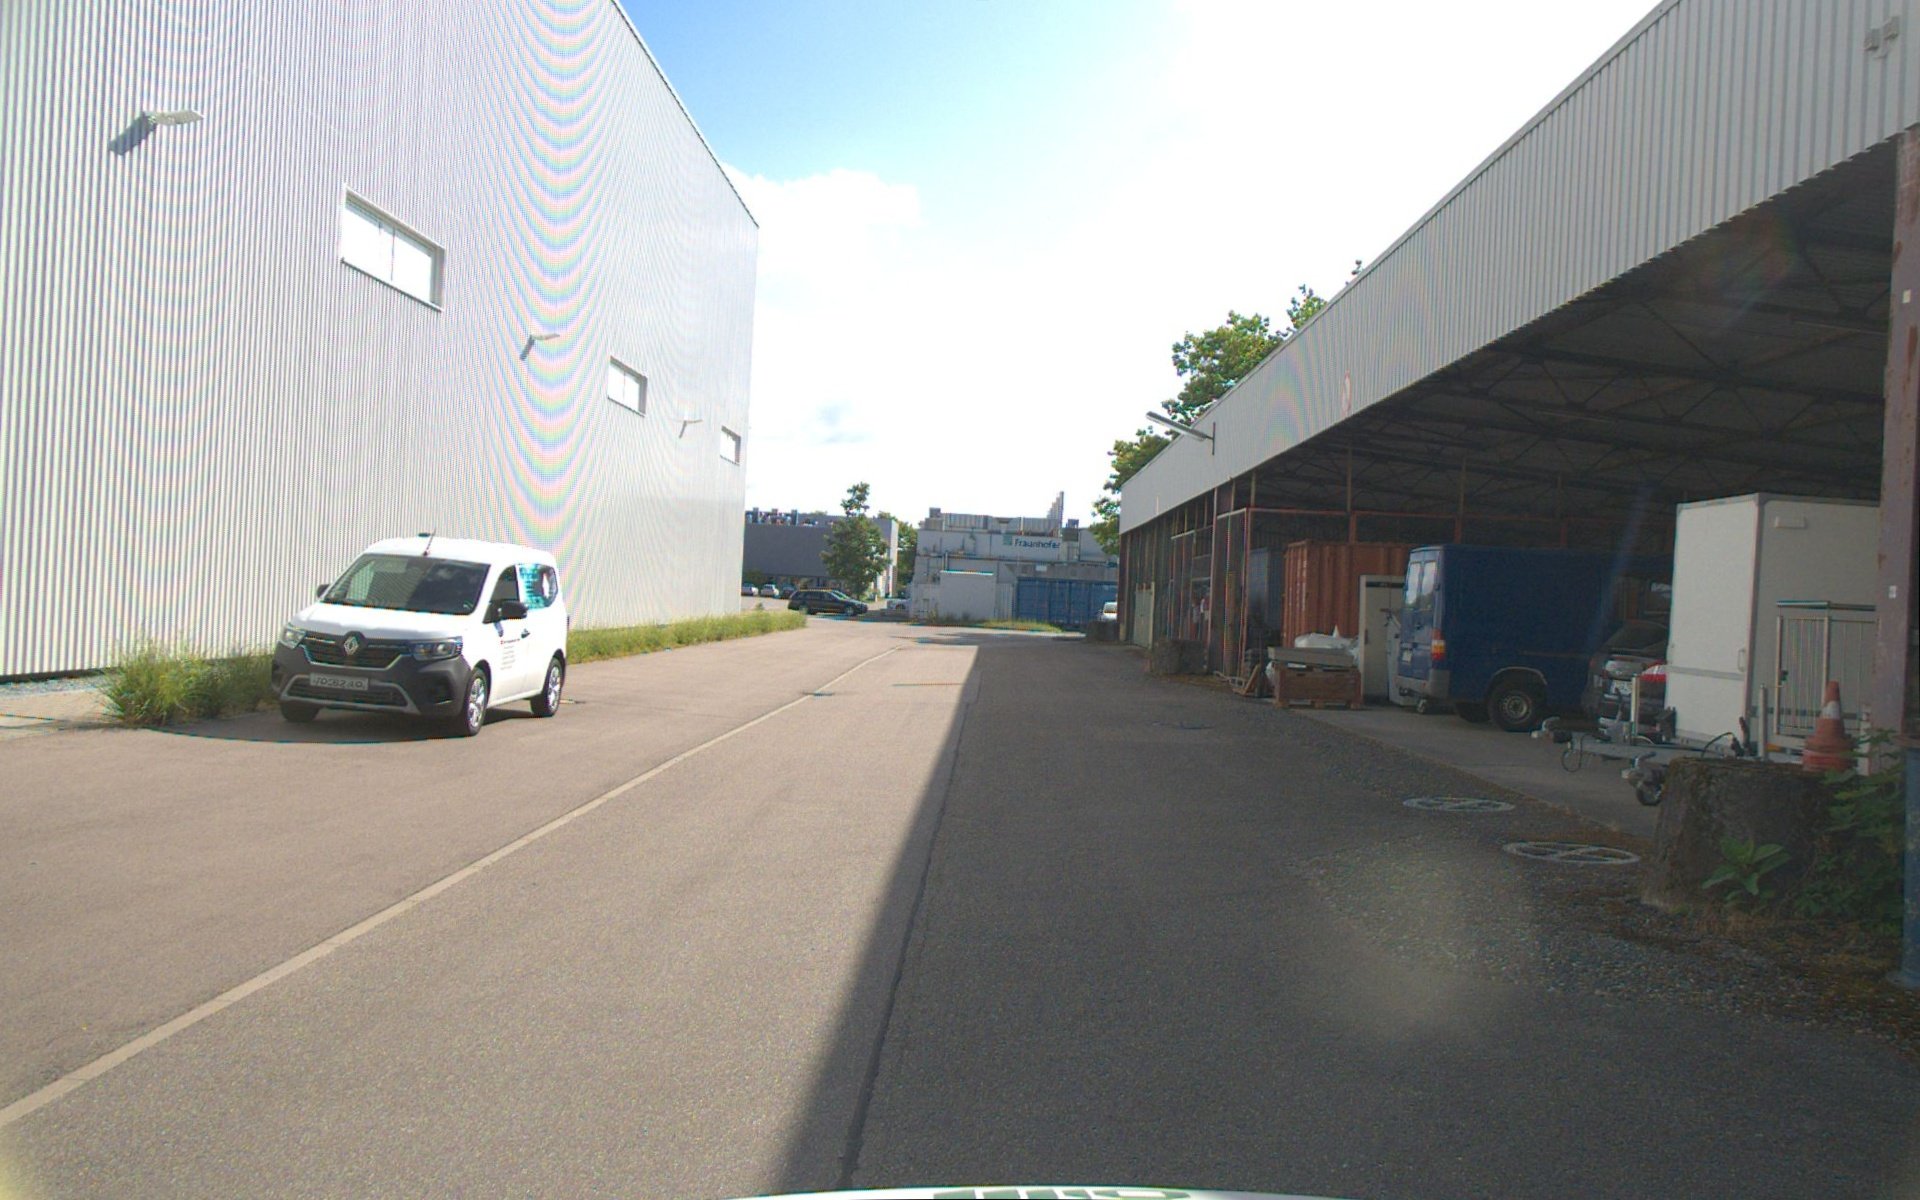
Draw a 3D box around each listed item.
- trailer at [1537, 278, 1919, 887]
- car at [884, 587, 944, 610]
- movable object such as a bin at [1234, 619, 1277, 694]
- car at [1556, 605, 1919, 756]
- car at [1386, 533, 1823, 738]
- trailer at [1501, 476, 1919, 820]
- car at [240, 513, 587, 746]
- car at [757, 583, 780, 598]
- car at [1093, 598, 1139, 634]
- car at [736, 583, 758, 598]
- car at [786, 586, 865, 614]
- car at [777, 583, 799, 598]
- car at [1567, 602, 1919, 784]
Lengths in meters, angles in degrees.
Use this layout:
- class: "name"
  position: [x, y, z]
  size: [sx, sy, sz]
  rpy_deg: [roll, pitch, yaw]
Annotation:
- class: "trailer"
  position: [9.057, 0.041, 10.356]
  size: [9.831, 3.272, 2.854]
  rpy_deg: [2, 0, 1]
- class: "car"
  position: [-3.472, -0.137, 126.348]
  size: [4.432, 1.534, 1.909]
  rpy_deg: [2, 0, 2]
- class: "movable object such as a bin"
  position: [4.880, 0.920, 27.365]
  size: [0.569, 1.185, 1.239]
  rpy_deg: [2, 0, 5]
- class: "car"
  position: [9.020, 0.882, 18.672]
  size: [3.908, 1.498, 1.787]
  rpy_deg: [2, 0, -4]
- class: "car"
  position: [8.296, 0.436, 21.646]
  size: [4.876, 2.366, 2.000]
  rpy_deg: [2, 0, 1]
- class: "trailer"
  position: [6.881, 0.375, 12.925]
  size: [4.711, 2.433, 1.828]
  rpy_deg: [2, 0, 6]
- class: "car"
  position: [-5.247, 0.253, 16.570]
  size: [1.852, 1.877, 4.359]
  rpy_deg: [5, 0, 0]
- class: "car"
  position: [-22.672, -1.093, 196.121]
  size: [2.148, 1.766, 4.000]
  rpy_deg: [1, 0, 0]
- class: "car"
  position: [8.055, 0.813, 85.850]
  size: [1.953, 1.613, 4.173]
  rpy_deg: [2, 2, 0]
- class: "car"
  position: [-25.211, -1.105, 195.807]
  size: [1.952, 1.766, 4.000]
  rpy_deg: [1, 0, 0]
- class: "car"
  position: [-8.015, -0.006, 98.798]
  size: [4.432, 1.534, 1.909]
  rpy_deg: [2, 0, 3]
- class: "car"
  position: [-20.197, -1.091, 194.381]
  size: [2.148, 1.766, 4.000]
  rpy_deg: [1, 0, 0]
- class: "car"
  position: [8.171, 0.853, 15.552]
  size: [4.241, 1.522, 1.777]
  rpy_deg: [2, 0, -2]
